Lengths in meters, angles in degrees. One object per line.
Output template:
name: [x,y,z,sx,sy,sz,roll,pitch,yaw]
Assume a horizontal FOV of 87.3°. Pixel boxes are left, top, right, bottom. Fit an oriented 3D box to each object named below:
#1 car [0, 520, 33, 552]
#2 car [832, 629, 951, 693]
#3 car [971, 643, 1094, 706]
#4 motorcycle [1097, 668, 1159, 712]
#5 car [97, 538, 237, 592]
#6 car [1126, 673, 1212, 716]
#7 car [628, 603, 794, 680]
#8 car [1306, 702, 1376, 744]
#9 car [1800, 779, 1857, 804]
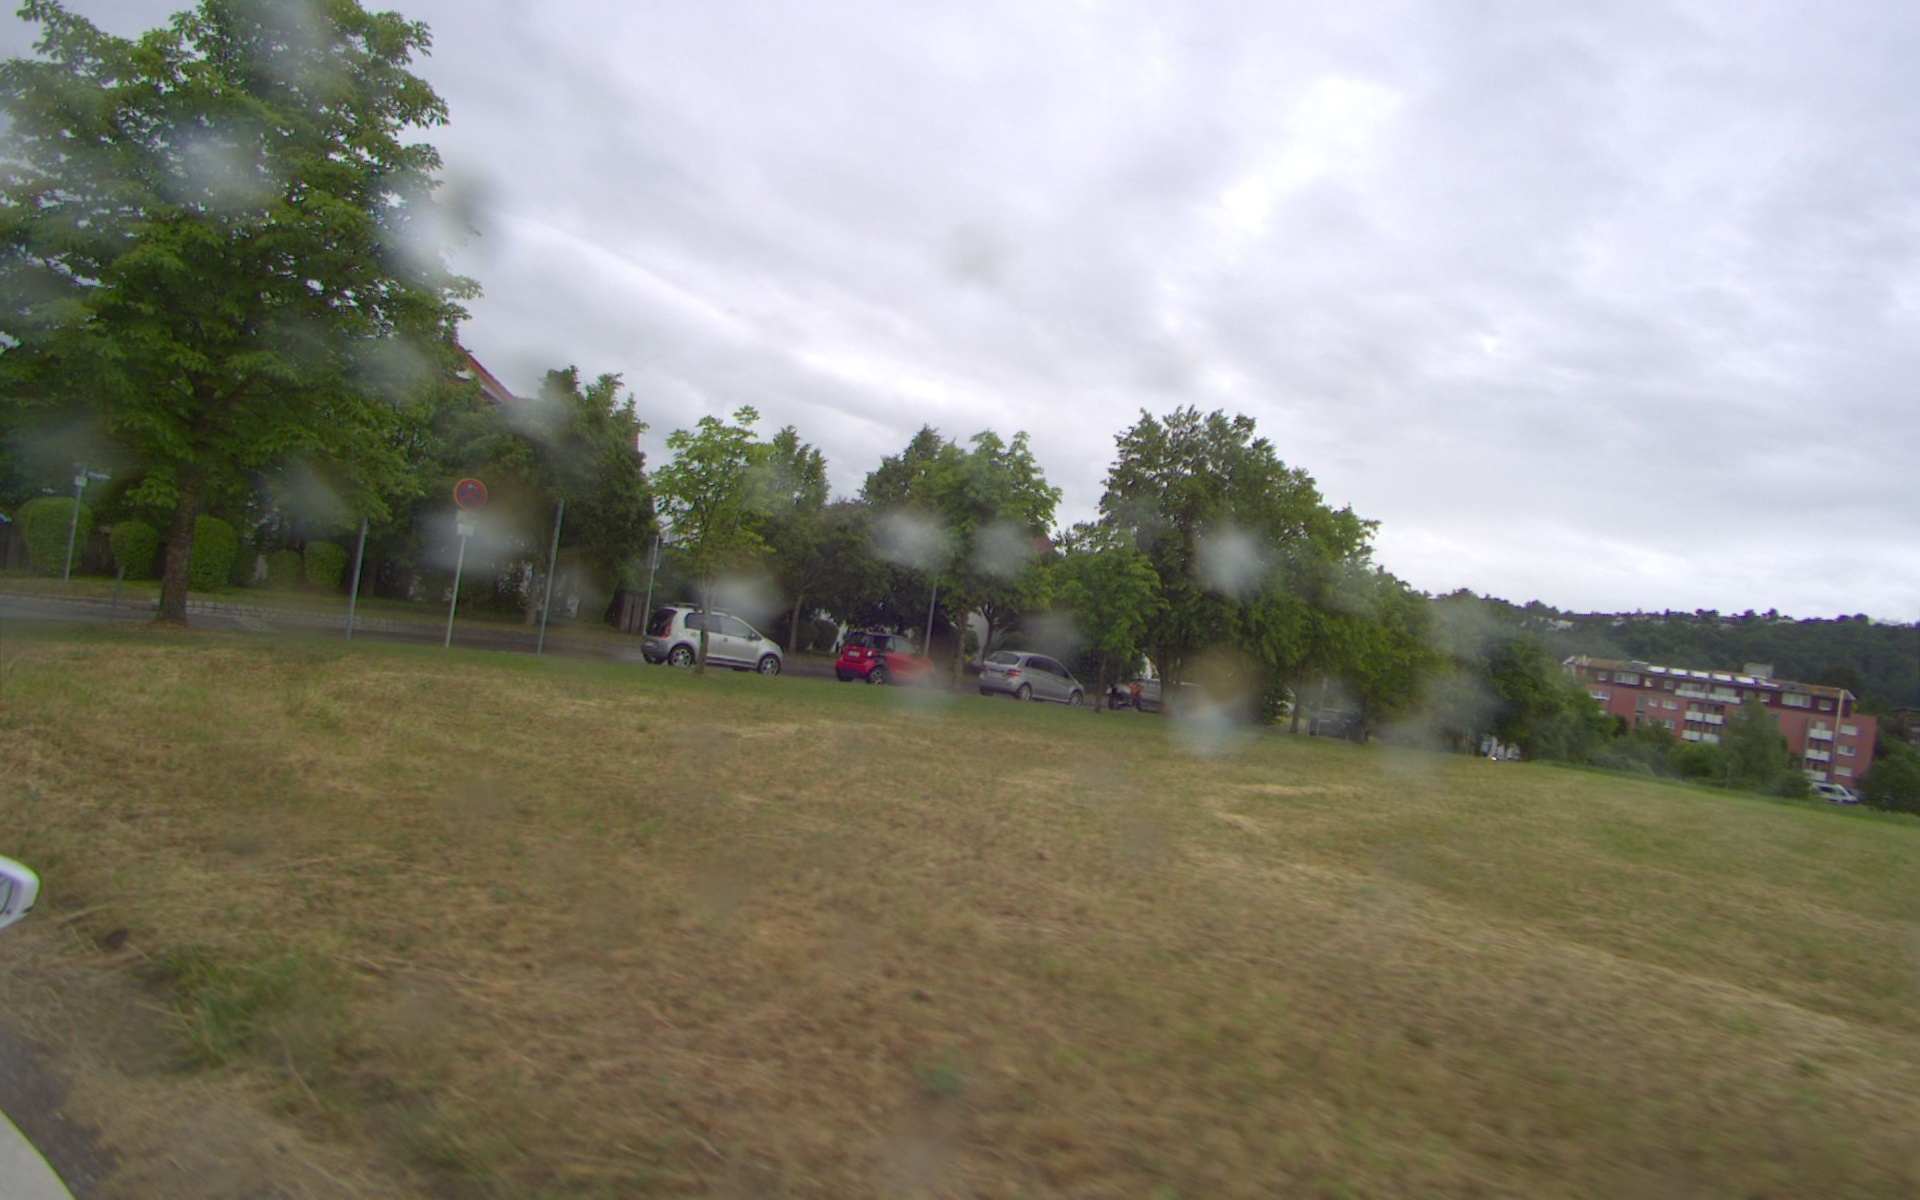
car: [-54.683,-3.829,56.098,3.964,1.585,1.893,10,-3,-33]
car: [-1.946,1.769,29.027,2.992,1.452,1.537,9,-3,-41]
car: [2.446,2.499,33.358,1.828,1.569,3.972,6,-4,44]
motorcycle: [6.066,3.248,36.264,0.958,1.316,2.255,6,-3,44]
car: [-31.688,-1.372,40.347,3.946,1.684,1.771,7,-1,-22]
car: [8.189,3.688,39.210,1.711,1.295,3.313,6,-3,43]
car: [-6.148,1.057,25.008,3.529,1.496,1.662,8,-3,-40]
car: [19.692,6.364,51.884,1.935,1.623,3.988,6,-5,42]
car: [107.317,23.681,124.373,5.208,2.037,1.992,4,-2,41]
